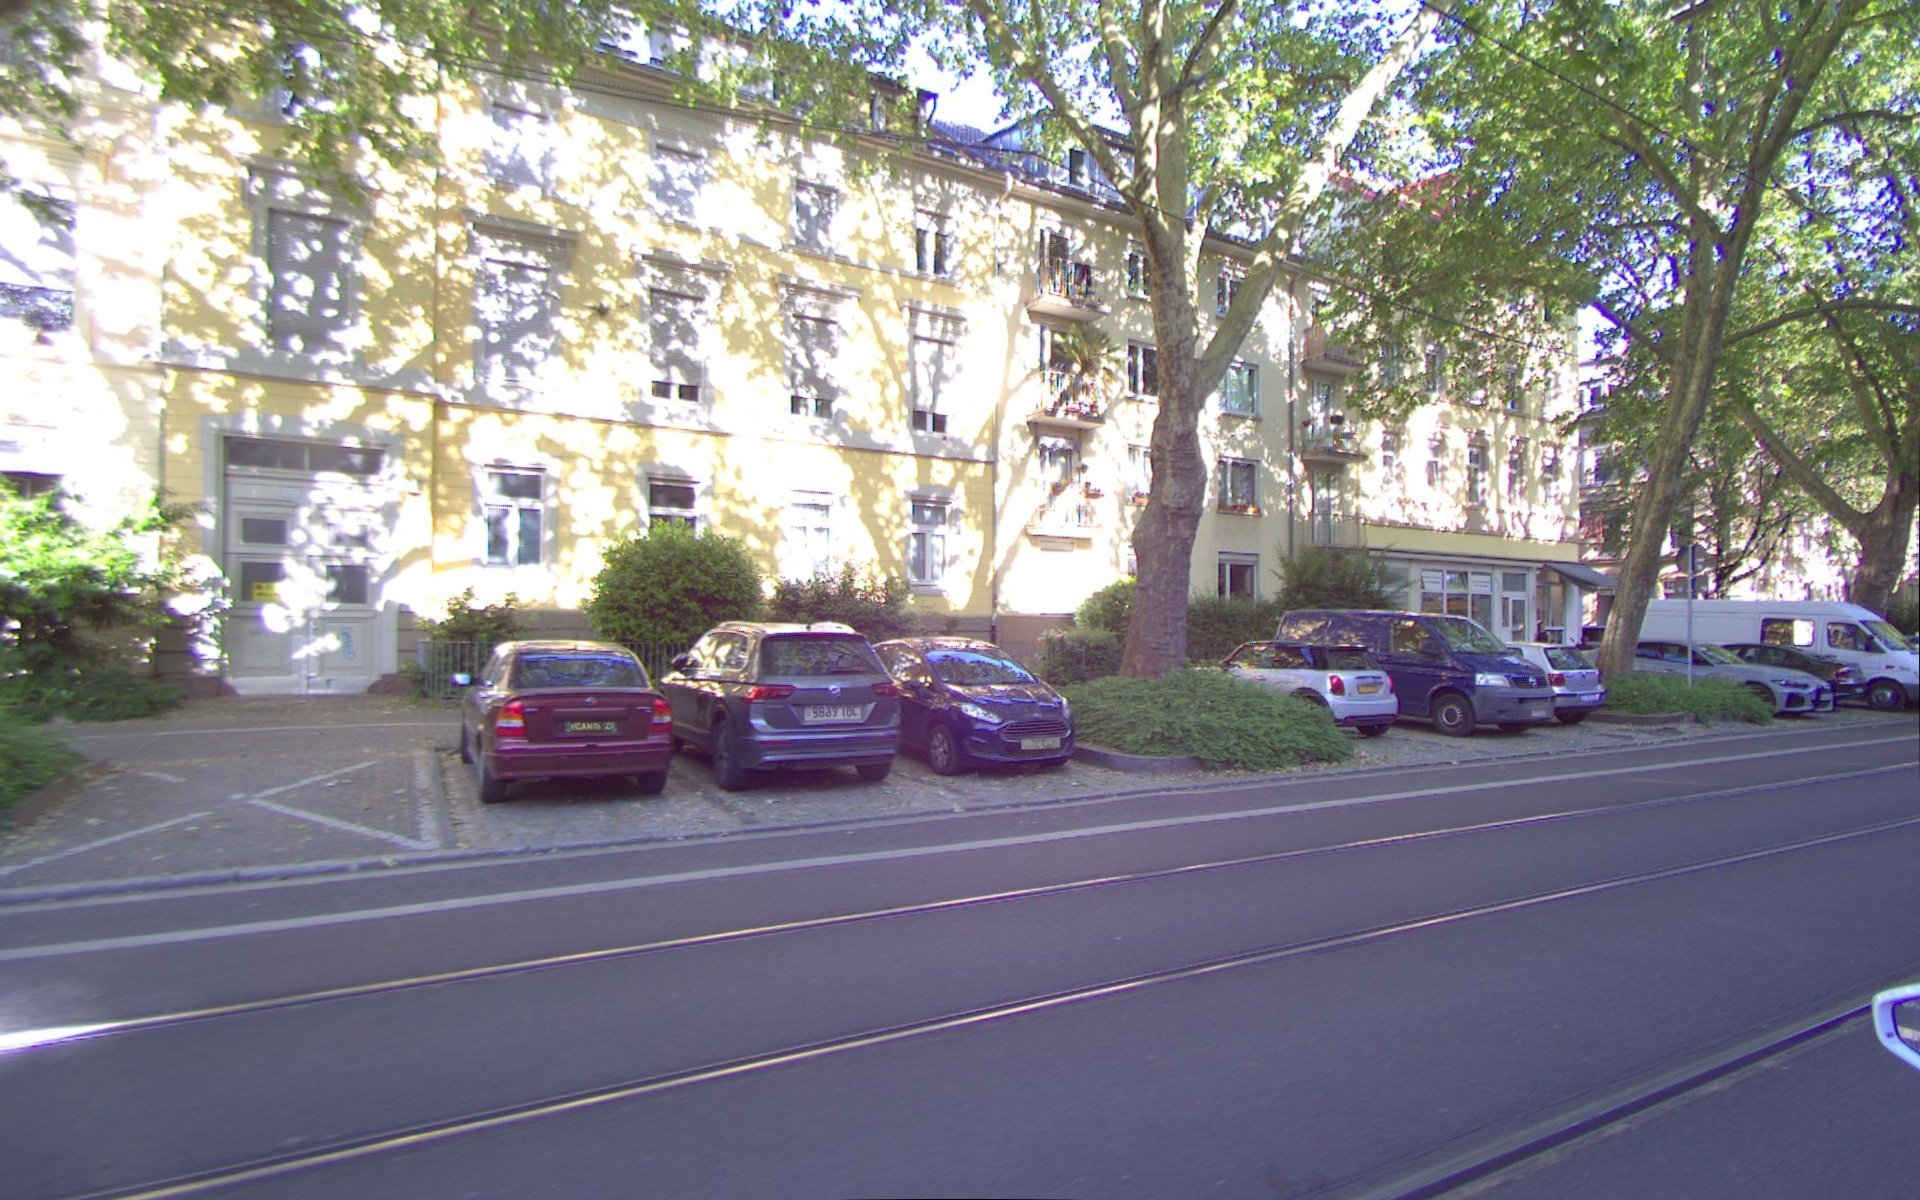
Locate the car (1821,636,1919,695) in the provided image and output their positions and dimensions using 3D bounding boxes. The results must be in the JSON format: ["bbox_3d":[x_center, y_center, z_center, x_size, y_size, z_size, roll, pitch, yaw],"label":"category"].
[{"bbox_3d":[26.578,1.831,27.779,1.659,1.518,3.898,2,0,-32],"label":"car"}]

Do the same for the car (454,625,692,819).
[{"bbox_3d":[-4.131,1.060,10.329,1.728,1.461,3.902,2,0,-29],"label":"car"}]

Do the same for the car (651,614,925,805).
[{"bbox_3d":[-2.118,1.046,11.356,1.856,1.648,3.977,2,0,-28],"label":"car"}]

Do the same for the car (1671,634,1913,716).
[{"bbox_3d":[18.651,1.611,22.697,1.659,1.518,3.898,2,0,-32],"label":"car"}]

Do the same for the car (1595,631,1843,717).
[{"bbox_3d":[16.123,1.515,21.543,1.656,1.518,3.903,2,0,-28],"label":"car"}]

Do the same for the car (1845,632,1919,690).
[{"bbox_3d":[28.550,1.823,29.234,1.659,1.598,3.898,2,0,-32],"label":"car"}]

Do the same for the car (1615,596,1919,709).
[{"bbox_3d":[20.557,1.167,25.144,2.428,2.441,6.598,2,0,-29],"label":"car"}]

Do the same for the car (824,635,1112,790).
[{"bbox_3d":[-0.072,1.235,12.464,1.798,1.440,3.899,2,0,-31],"label":"car"}]

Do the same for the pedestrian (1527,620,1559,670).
[{"bbox_3d":[18.259,1.394,31.472,0.623,1.518,0.655,1,0,-40],"label":"pedestrian"}]

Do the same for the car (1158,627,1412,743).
[{"bbox_3d":[5.111,1.272,16.267,1.726,1.518,3.717,2,0,-30],"label":"car"}]

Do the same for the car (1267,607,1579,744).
[{"bbox_3d":[7.778,1.155,17.396,1.956,1.949,4.655,2,0,-28],"label":"car"}]

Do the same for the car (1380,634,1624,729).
[{"bbox_3d":[10.011,1.439,18.822,1.618,1.449,3.717,2,0,-30],"label":"car"}]
